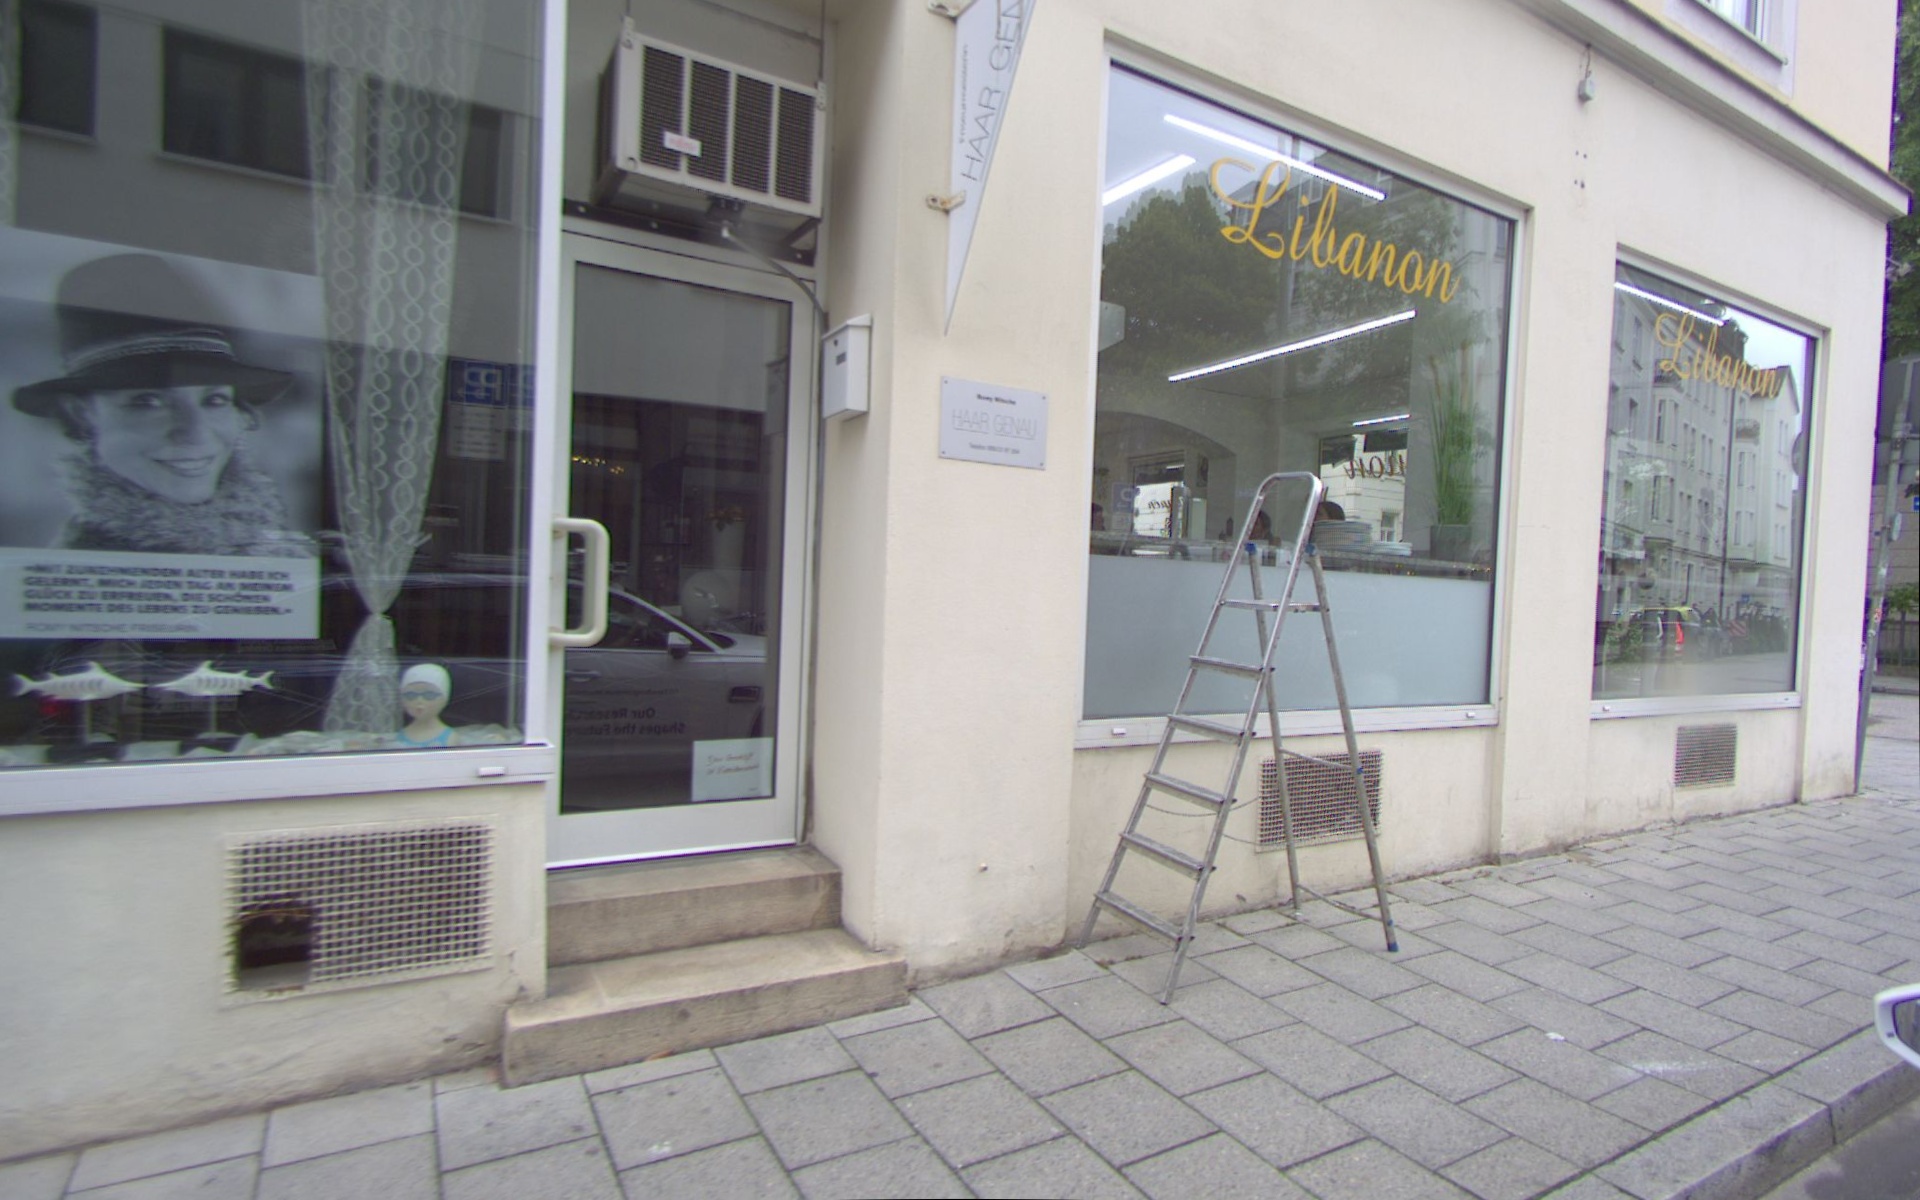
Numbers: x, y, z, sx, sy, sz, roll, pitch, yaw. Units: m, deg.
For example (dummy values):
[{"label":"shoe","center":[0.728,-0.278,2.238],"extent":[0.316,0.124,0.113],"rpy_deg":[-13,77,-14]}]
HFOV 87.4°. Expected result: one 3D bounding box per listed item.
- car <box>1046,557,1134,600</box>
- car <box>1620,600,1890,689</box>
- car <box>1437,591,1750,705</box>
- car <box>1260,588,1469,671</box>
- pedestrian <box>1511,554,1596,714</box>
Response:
[{"label":"car","center":[5.366,-0.921,41.975],"extent":[1.686,1.669,3.972],"rpy_deg":[2,1,-27]},{"label":"car","center":[16.027,0.839,20.500],"extent":[1.662,1.468,3.975],"rpy_deg":[2,2,-24]},{"label":"car","center":[10.940,0.720,17.715],"extent":[1.879,1.537,4.316],"rpy_deg":[-3,4,-27]},{"label":"car","center":[8.824,0.565,22.309],"extent":[1.663,1.528,4.232],"rpy_deg":[-1,2,-28]},{"label":"pedestrian","center":[6.447,0.351,10.913],"extent":[0.534,1.664,0.598],"rpy_deg":[1,2,-42]}]
